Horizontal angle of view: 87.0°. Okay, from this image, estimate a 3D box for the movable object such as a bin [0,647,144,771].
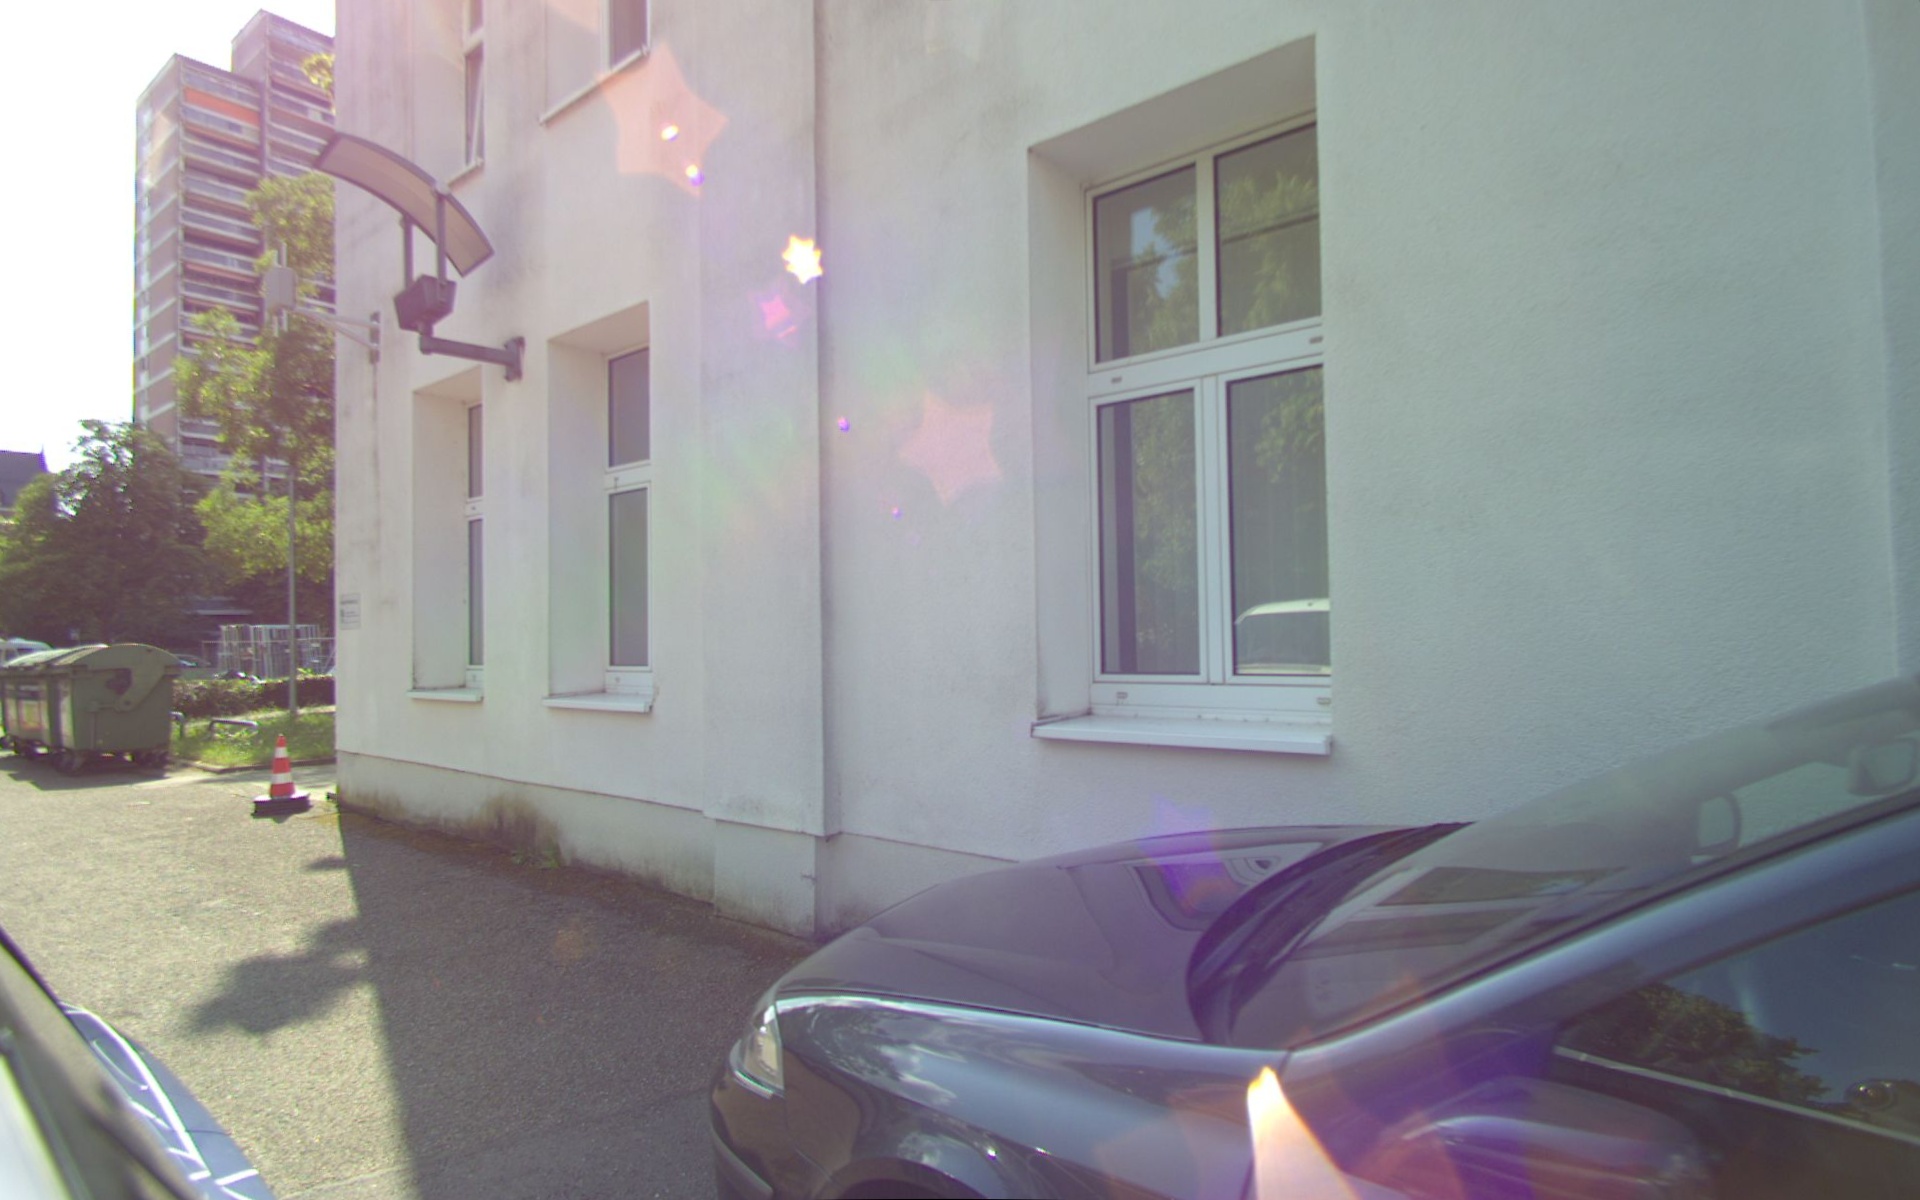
[{"bbox_3d":[-11.992,1.426,13.665,1.230,1.462,1.091,-1,3,31],"label":"movable object such as a bin"}]

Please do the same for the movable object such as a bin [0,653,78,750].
[{"bbox_3d":[-15.842,1.696,17.054,1.228,1.493,1.300,-1,0,-31],"label":"movable object such as a bin"}]

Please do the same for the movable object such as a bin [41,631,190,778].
[{"bbox_3d":[-9.861,1.159,11.817,1.343,1.462,1.088,1,4,41],"label":"movable object such as a bin"}]

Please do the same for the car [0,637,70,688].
[{"bbox_3d":[-47.237,3.047,50.195,5.256,2.028,1.992,3,2,13],"label":"car"}]

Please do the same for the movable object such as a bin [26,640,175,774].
[{"bbox_3d":[-10.840,1.290,12.769,1.282,1.462,1.211,-1,2,42],"label":"movable object such as a bin"}]

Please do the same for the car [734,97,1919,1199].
[{"bbox_3d":[1.942,0.418,0.751,4.337,1.452,1.861,4,5,39],"label":"car"}]

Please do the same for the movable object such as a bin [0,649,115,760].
[{"bbox_3d":[-13.136,1.479,14.577,1.340,1.463,1.089,-1,-5,36],"label":"movable object such as a bin"}]
